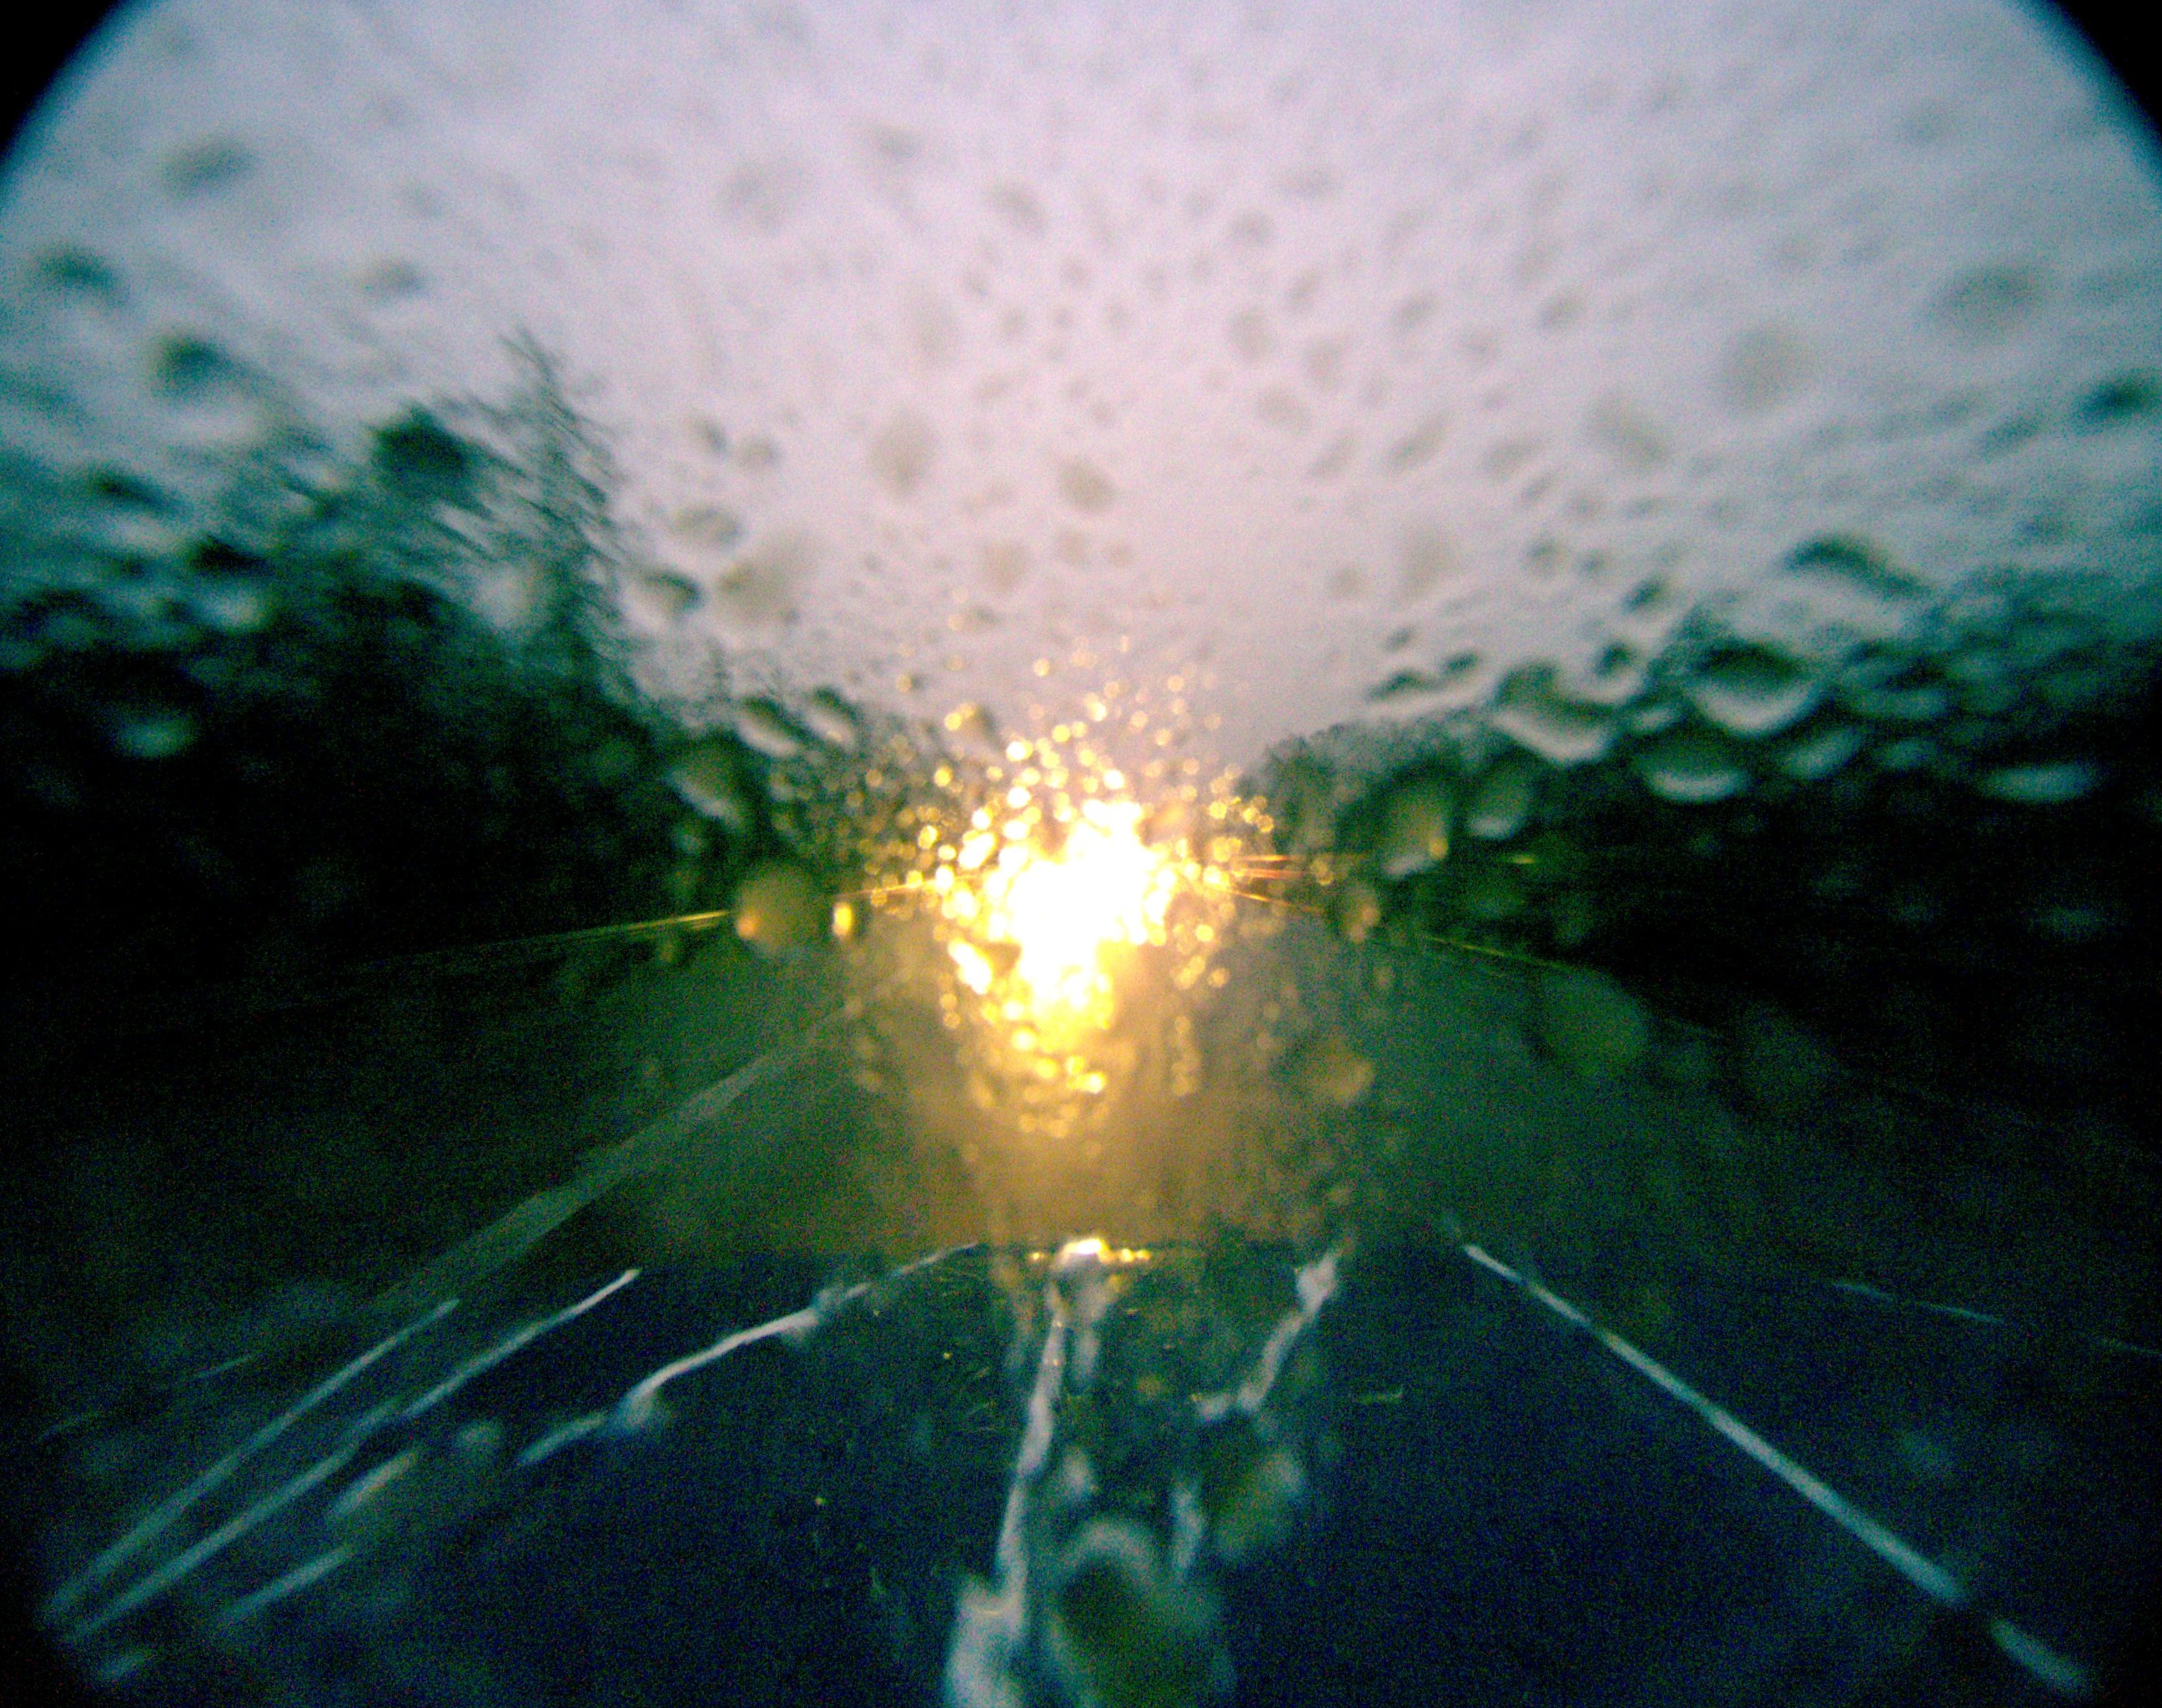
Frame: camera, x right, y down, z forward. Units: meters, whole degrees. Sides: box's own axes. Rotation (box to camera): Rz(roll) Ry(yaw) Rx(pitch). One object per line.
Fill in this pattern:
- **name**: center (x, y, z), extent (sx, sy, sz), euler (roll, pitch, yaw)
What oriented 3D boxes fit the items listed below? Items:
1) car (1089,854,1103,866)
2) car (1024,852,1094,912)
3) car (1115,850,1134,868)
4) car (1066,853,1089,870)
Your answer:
- **car**: center (1.924, 0.710, 95.660), extent (1.741, 1.441, 4.000), euler (-2, 0, 1)
- **car**: center (-0.650, 0.852, 25.196), extent (1.929, 1.781, 3.941), euler (-2, 0, 3)
- **car**: center (4.707, 0.500, 83.290), extent (1.767, 1.922, 3.999), euler (-2, 0, 0)
- **car**: center (-0.289, 0.603, 64.087), extent (1.602, 1.358, 3.306), euler (-3, 0, 4)
